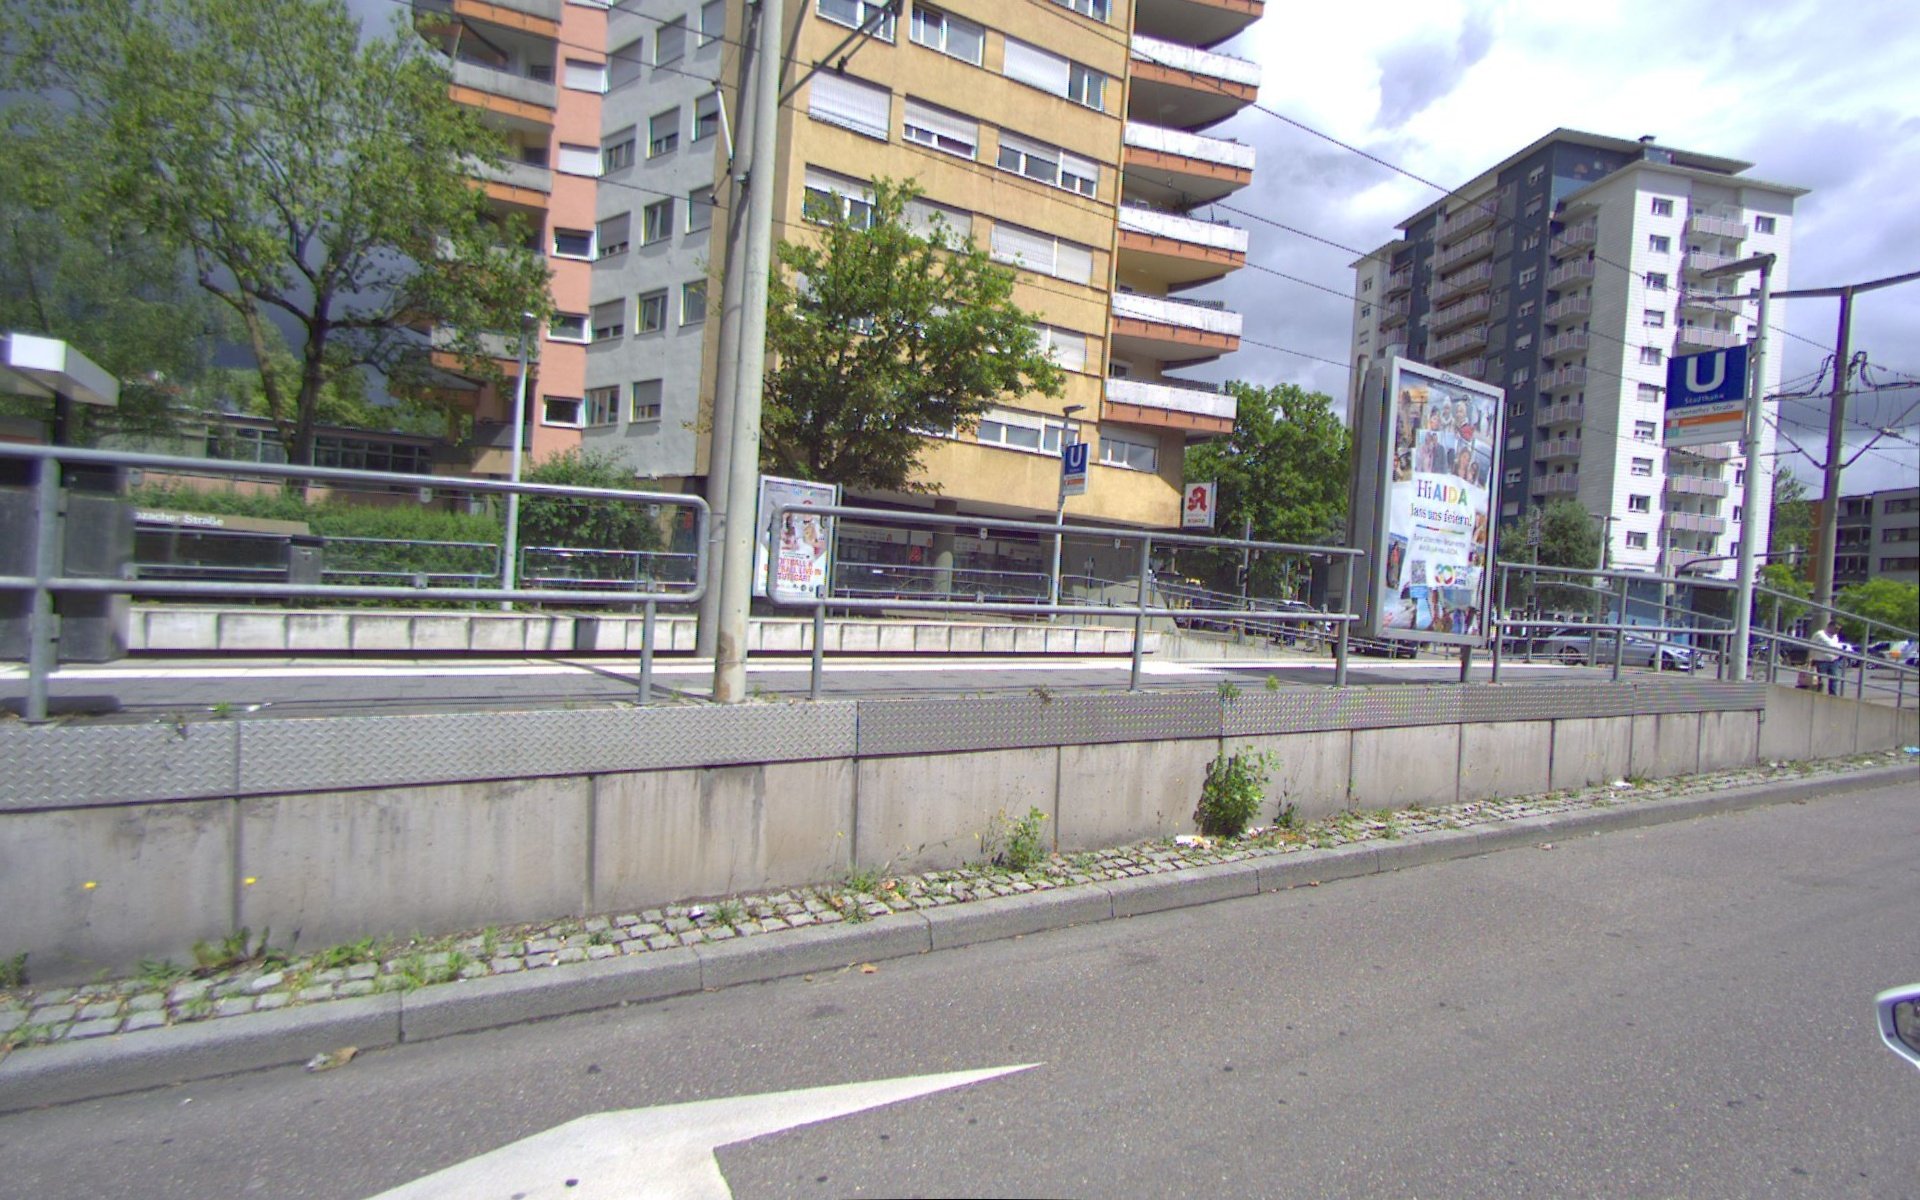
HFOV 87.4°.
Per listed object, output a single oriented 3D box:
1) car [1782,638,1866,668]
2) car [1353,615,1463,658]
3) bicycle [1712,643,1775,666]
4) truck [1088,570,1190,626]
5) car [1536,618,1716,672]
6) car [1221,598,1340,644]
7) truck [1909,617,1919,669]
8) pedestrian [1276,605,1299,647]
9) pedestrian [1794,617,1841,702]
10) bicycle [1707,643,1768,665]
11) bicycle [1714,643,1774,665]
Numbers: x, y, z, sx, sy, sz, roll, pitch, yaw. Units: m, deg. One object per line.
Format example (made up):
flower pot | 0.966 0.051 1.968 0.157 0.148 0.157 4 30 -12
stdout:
car | 54.770 3.358 63.747 3.861 1.669 1.650 2 0 37
car | 15.651 1.276 35.033 3.820 1.424 1.571 2 0 -30
bicycle | 42.149 2.946 54.070 2.521 1.022 0.754 4 0 33
truck | 7.984 -0.110 45.241 2.323 2.320 4.260 2 0 -29
car | 22.738 1.505 34.451 1.982 1.542 4.755 2 0 -37
car | 14.841 0.929 46.790 1.979 1.918 5.138 2 0 -33
truck | 62.217 2.755 63.066 7.244 3.159 2.267 2 0 -34
pedestrian | 11.382 0.899 34.874 0.541 1.459 0.497 2 0 -19
pedestrian | 18.398 1.260 21.565 0.679 1.757 0.685 2 0 38
bicycle | 42.557 2.953 54.986 2.521 1.022 0.754 4 0 33
bicycle | 43.417 2.982 55.679 2.521 1.022 0.754 4 0 33
